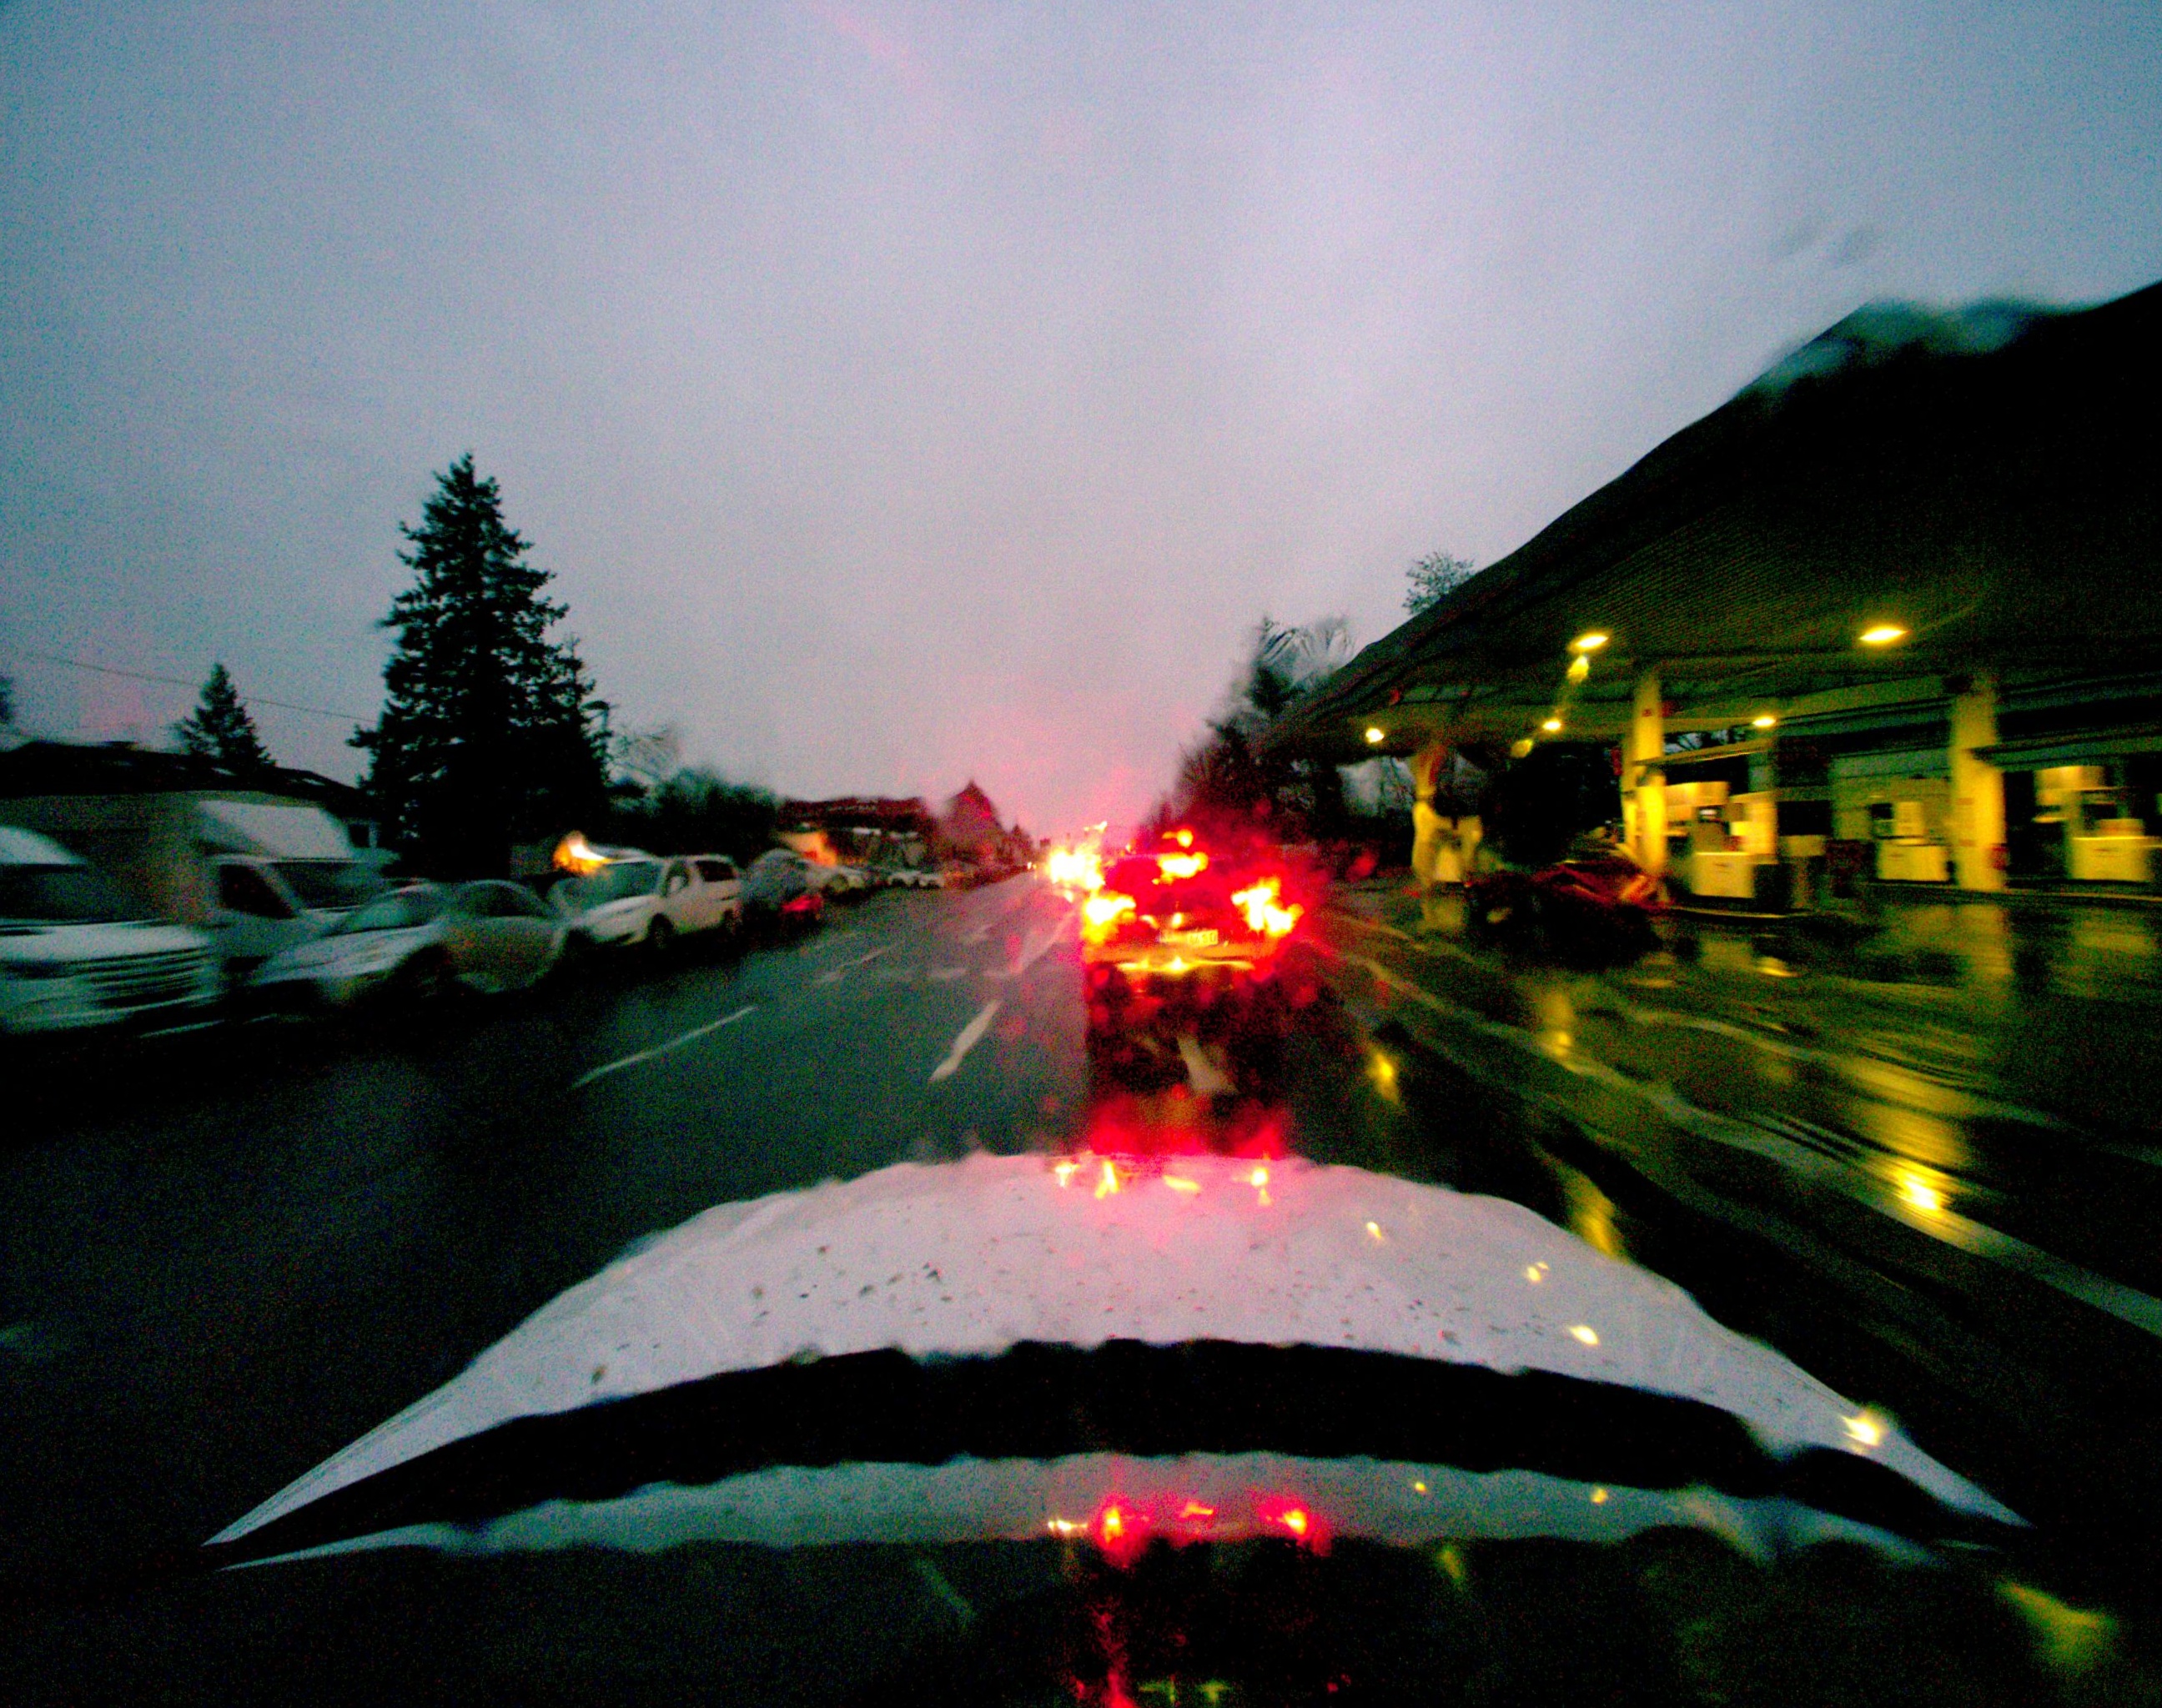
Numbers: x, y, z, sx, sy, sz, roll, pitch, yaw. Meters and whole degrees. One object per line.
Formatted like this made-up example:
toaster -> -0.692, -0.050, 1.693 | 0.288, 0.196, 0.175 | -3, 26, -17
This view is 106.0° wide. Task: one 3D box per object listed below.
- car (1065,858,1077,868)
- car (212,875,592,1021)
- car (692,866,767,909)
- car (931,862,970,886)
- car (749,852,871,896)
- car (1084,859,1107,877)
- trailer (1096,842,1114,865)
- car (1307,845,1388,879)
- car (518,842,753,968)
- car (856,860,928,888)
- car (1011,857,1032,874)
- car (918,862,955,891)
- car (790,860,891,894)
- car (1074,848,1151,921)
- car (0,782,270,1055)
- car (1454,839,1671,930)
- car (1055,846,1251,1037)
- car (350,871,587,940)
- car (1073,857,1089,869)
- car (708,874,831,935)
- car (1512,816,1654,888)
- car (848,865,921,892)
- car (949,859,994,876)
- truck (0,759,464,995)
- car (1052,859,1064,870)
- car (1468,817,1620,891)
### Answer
car -> -1.953, 1.833, 164.693 | 1.984, 1.746, 4.005 | -3, -1, 4
car -> -8.584, 1.081, 10.819 | 1.643, 1.412, 3.843 | -2, 0, 3
car -> -15.416, 1.421, 35.898 | 1.664, 1.676, 3.705 | -2, 0, -1
car -> -8.394, 1.249, 52.477 | 1.675, 1.421, 3.743 | -2, 0, 3
car -> -11.472, 0.842, 34.723 | 4.524, 1.676, 2.008 | -2, 0, -4
car -> 1.143, 1.055, 63.007 | 1.647, 1.336, 4.273 | -2, 0, 1
trailer -> 3.544, 0.041, 123.053 | 2.479, 3.241, 10.868 | -1, -1, 1
car -> 13.782, 0.396, 42.049 | 4.508, 1.608, 1.995 | -2, -1, -43
car -> -8.260, 0.851, 15.680 | 1.827, 2.013, 4.487 | -2, 0, 3
car -> -11.971, 1.255, 51.785 | 4.031, 1.650, 1.943 | -2, 0, 2
car -> -6.938, 1.316, 96.014 | 1.964, 1.830, 4.513 | -3, 0, 1
car -> -8.519, 1.305, 48.113 | 1.513, 1.543, 3.015 | -3, 0, 1
car -> -11.722, 1.112, 39.847 | 4.320, 1.498, 1.826 | -2, 0, 1
car -> 0.773, 0.694, 20.661 | 1.702, 1.576, 4.465 | -2, 0, 2
car -> -13.108, 0.741, 8.914 | 6.015, 2.638, 2.195 | -2, 0, -2
car -> 8.718, 0.494, 15.210 | 1.567, 1.396, 4.169 | -3, 0, 1
car -> 0.645, 0.726, 8.684 | 1.559, 1.529, 4.008 | -2, 0, 1
car -> -14.144, 1.155, 18.998 | 4.039, 1.377, 1.813 | -2, 0, -3
car -> -0.018, 1.328, 121.381 | 2.042, 1.573, 4.699 | -3, -1, -2
car -> -7.962, 1.248, 21.222 | 1.565, 1.321, 4.254 | -4, -2, -1
car -> 15.659, -0.051, 25.669 | 1.987, 2.013, 4.000 | -2, 0, 1
car -> -11.279, 1.414, 46.874 | 3.762, 1.459, 1.775 | -1, 0, -2
car -> -11.036, 1.355, 82.416 | 4.261, 1.662, 2.000 | 1, 0, 1
truck -> -13.936, 0.349, 12.581 | 6.838, 3.142, 2.333 | -2, 0, -1
car -> -3.393, 1.510, 122.500 | 1.598, 1.534, 4.000 | -4, 0, 0
car -> 13.375, 0.011, 23.877 | 1.987, 1.859, 4.298 | -3, 0, 1
